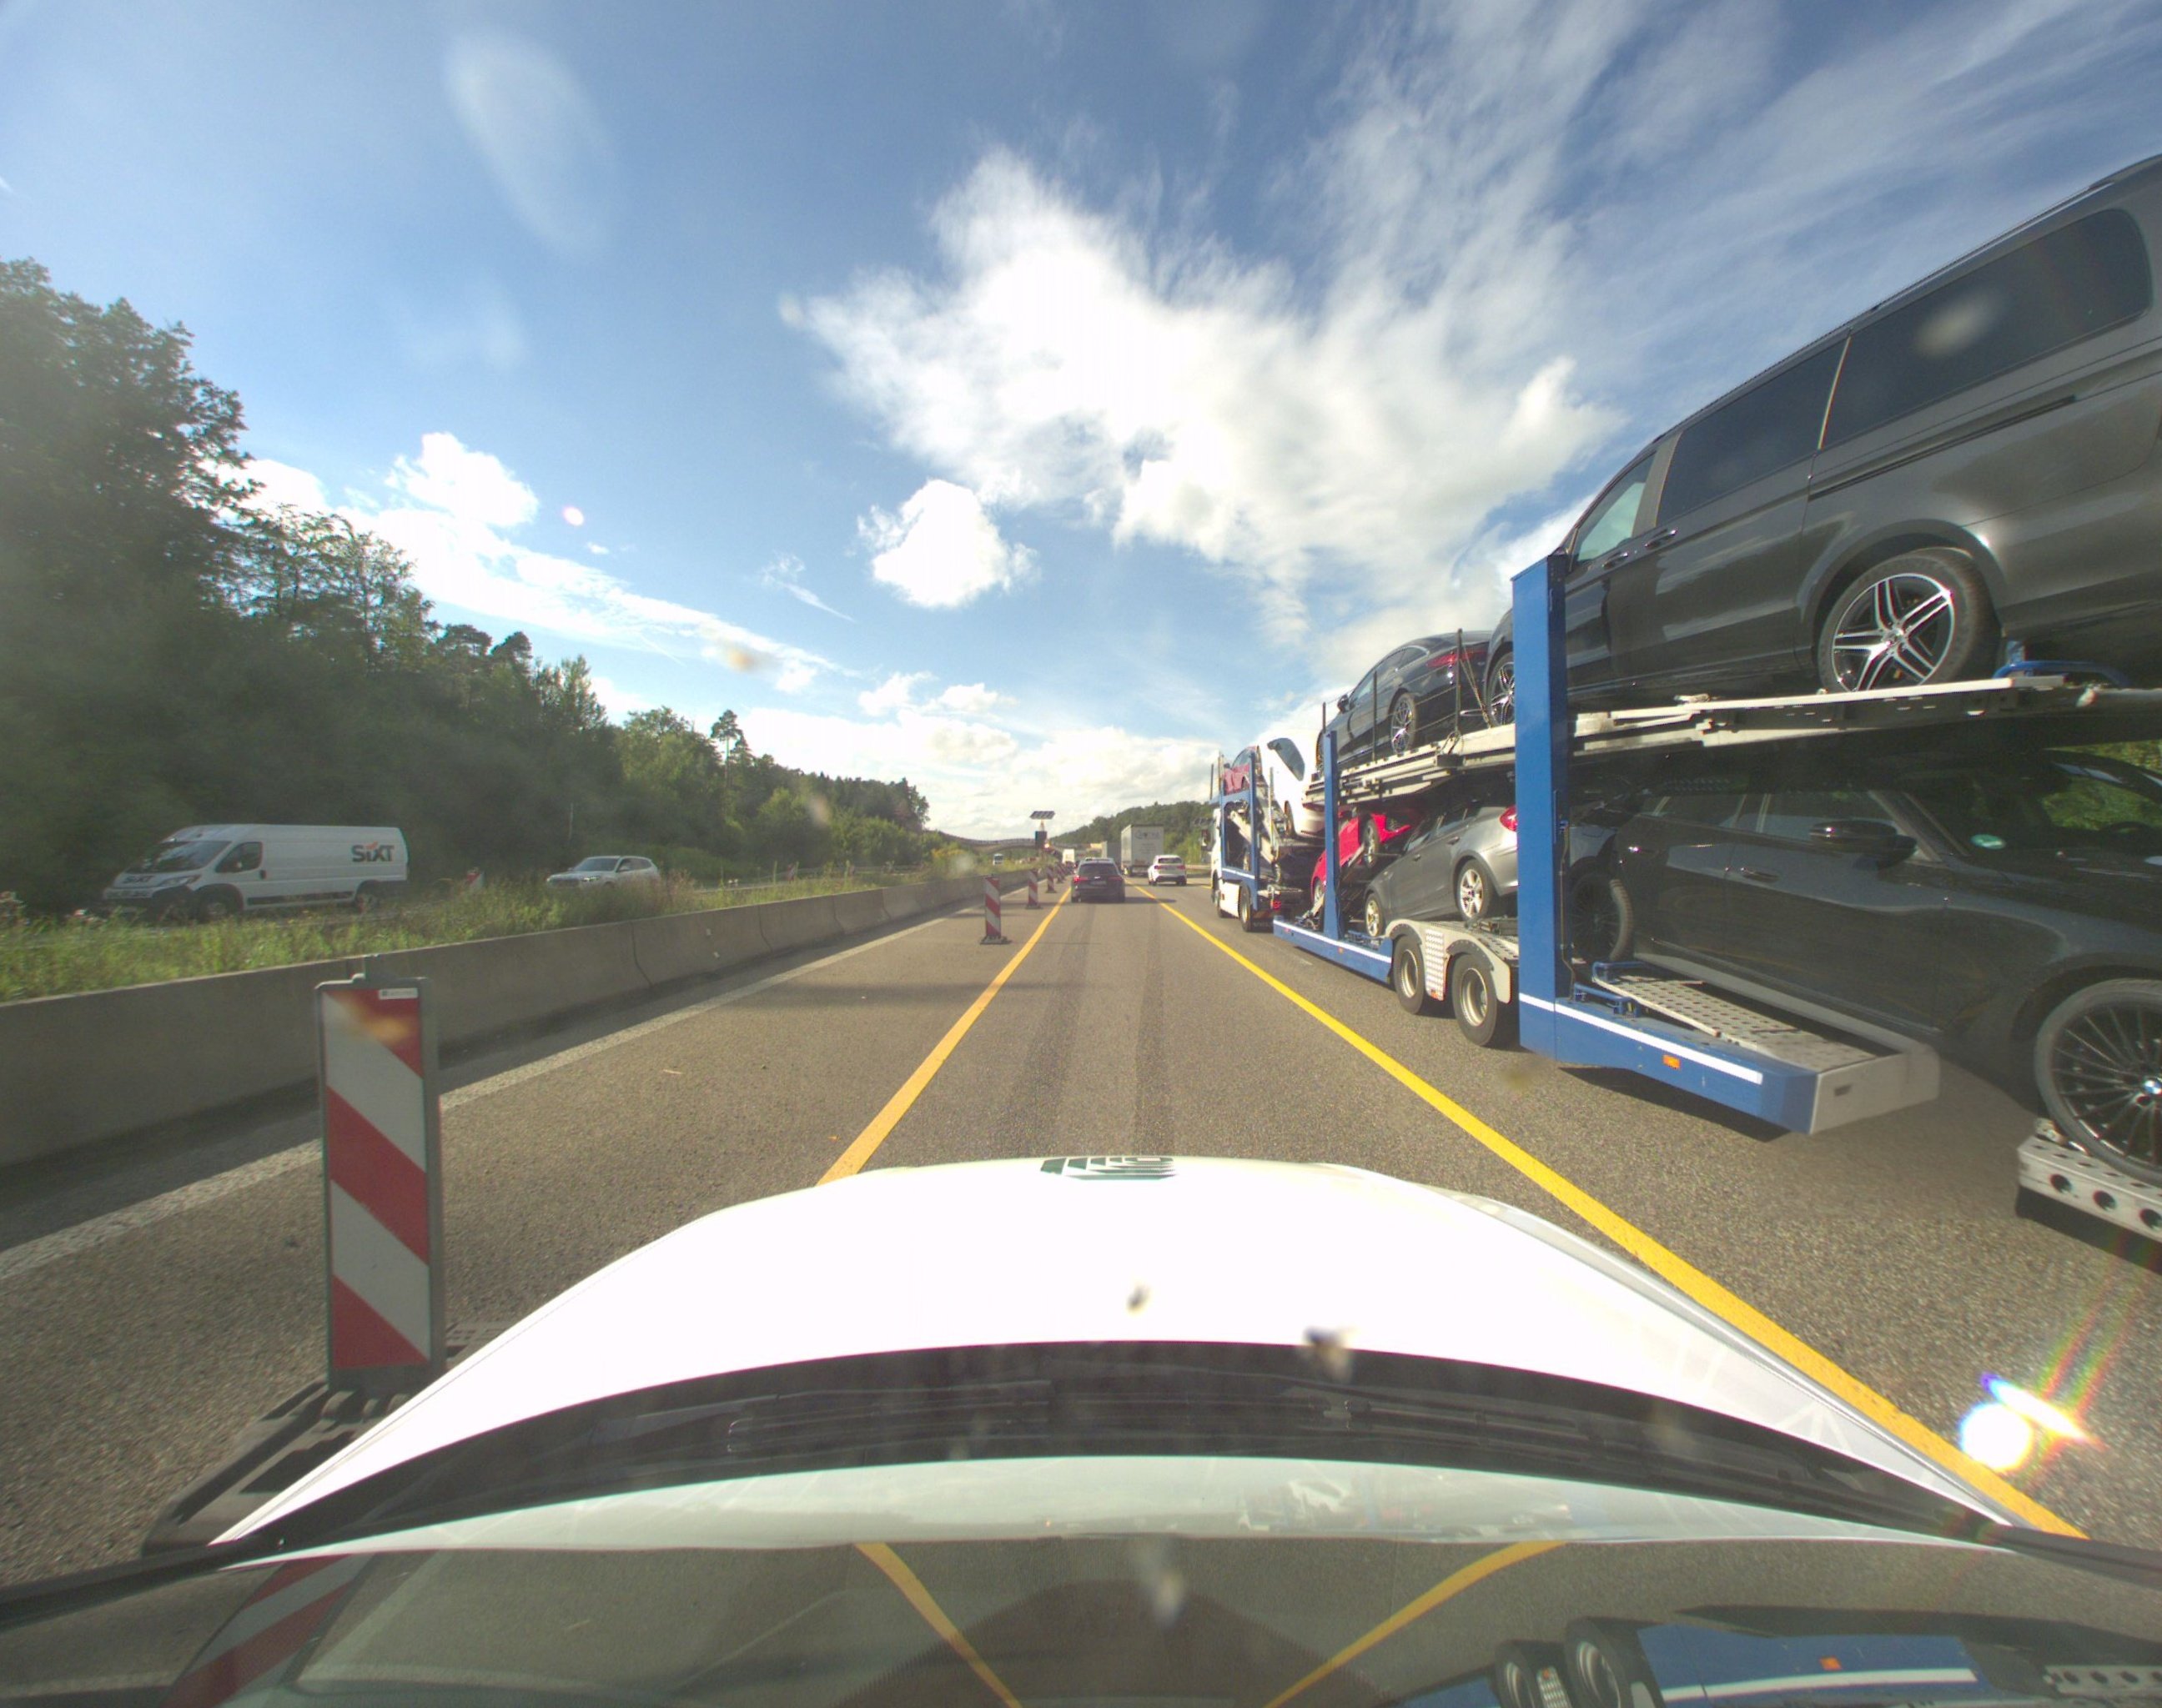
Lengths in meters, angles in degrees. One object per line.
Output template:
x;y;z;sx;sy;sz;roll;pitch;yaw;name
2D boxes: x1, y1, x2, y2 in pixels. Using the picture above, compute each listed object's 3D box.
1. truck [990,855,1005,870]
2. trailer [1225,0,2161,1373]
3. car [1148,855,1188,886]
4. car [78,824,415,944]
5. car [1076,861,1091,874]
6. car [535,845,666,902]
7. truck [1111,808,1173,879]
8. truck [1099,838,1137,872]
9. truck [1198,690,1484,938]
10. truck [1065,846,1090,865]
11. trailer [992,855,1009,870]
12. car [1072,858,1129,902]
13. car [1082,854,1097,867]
-19.752;1.991;193.221;2.774;3.490;4.941;0;-1;2;truck
4.849;-0.633;9.339;3.713;4.196;16.227;0;-1;1;trailer
4.774;0.875;45.155;1.883;1.643;4.019;0;-1;2;car
-21.381;0.699;21.525;2.020;2.684;6.525;0;-1;2;car
0.321;2.075;124.950;1.990;2.014;3.994;0;-1;-4;car
-16.303;0.631;27.933;1.771;1.786;4.366;0;-1;2;car
4.918;-0.678;69.691;3.667;5.353;16.189;0;-1;-2;truck
5.125;0.197;115.366;4.309;4.600;11.113;0;-1;-3;truck
4.973;-0.638;17.772;3.749;4.196;7.950;0;-1;0;truck
-0.794;0.363;172.461;3.652;3.928;11.034;0;-1;-8;truck
-19.584;2.070;199.268;2.792;3.490;11.115;0;-1;1;trailer
0.695;0.890;28.859;1.883;1.446;4.001;0;-1;2;car
1.113;0.882;108.069;1.886;1.643;4.014;0;-1;-3;car
